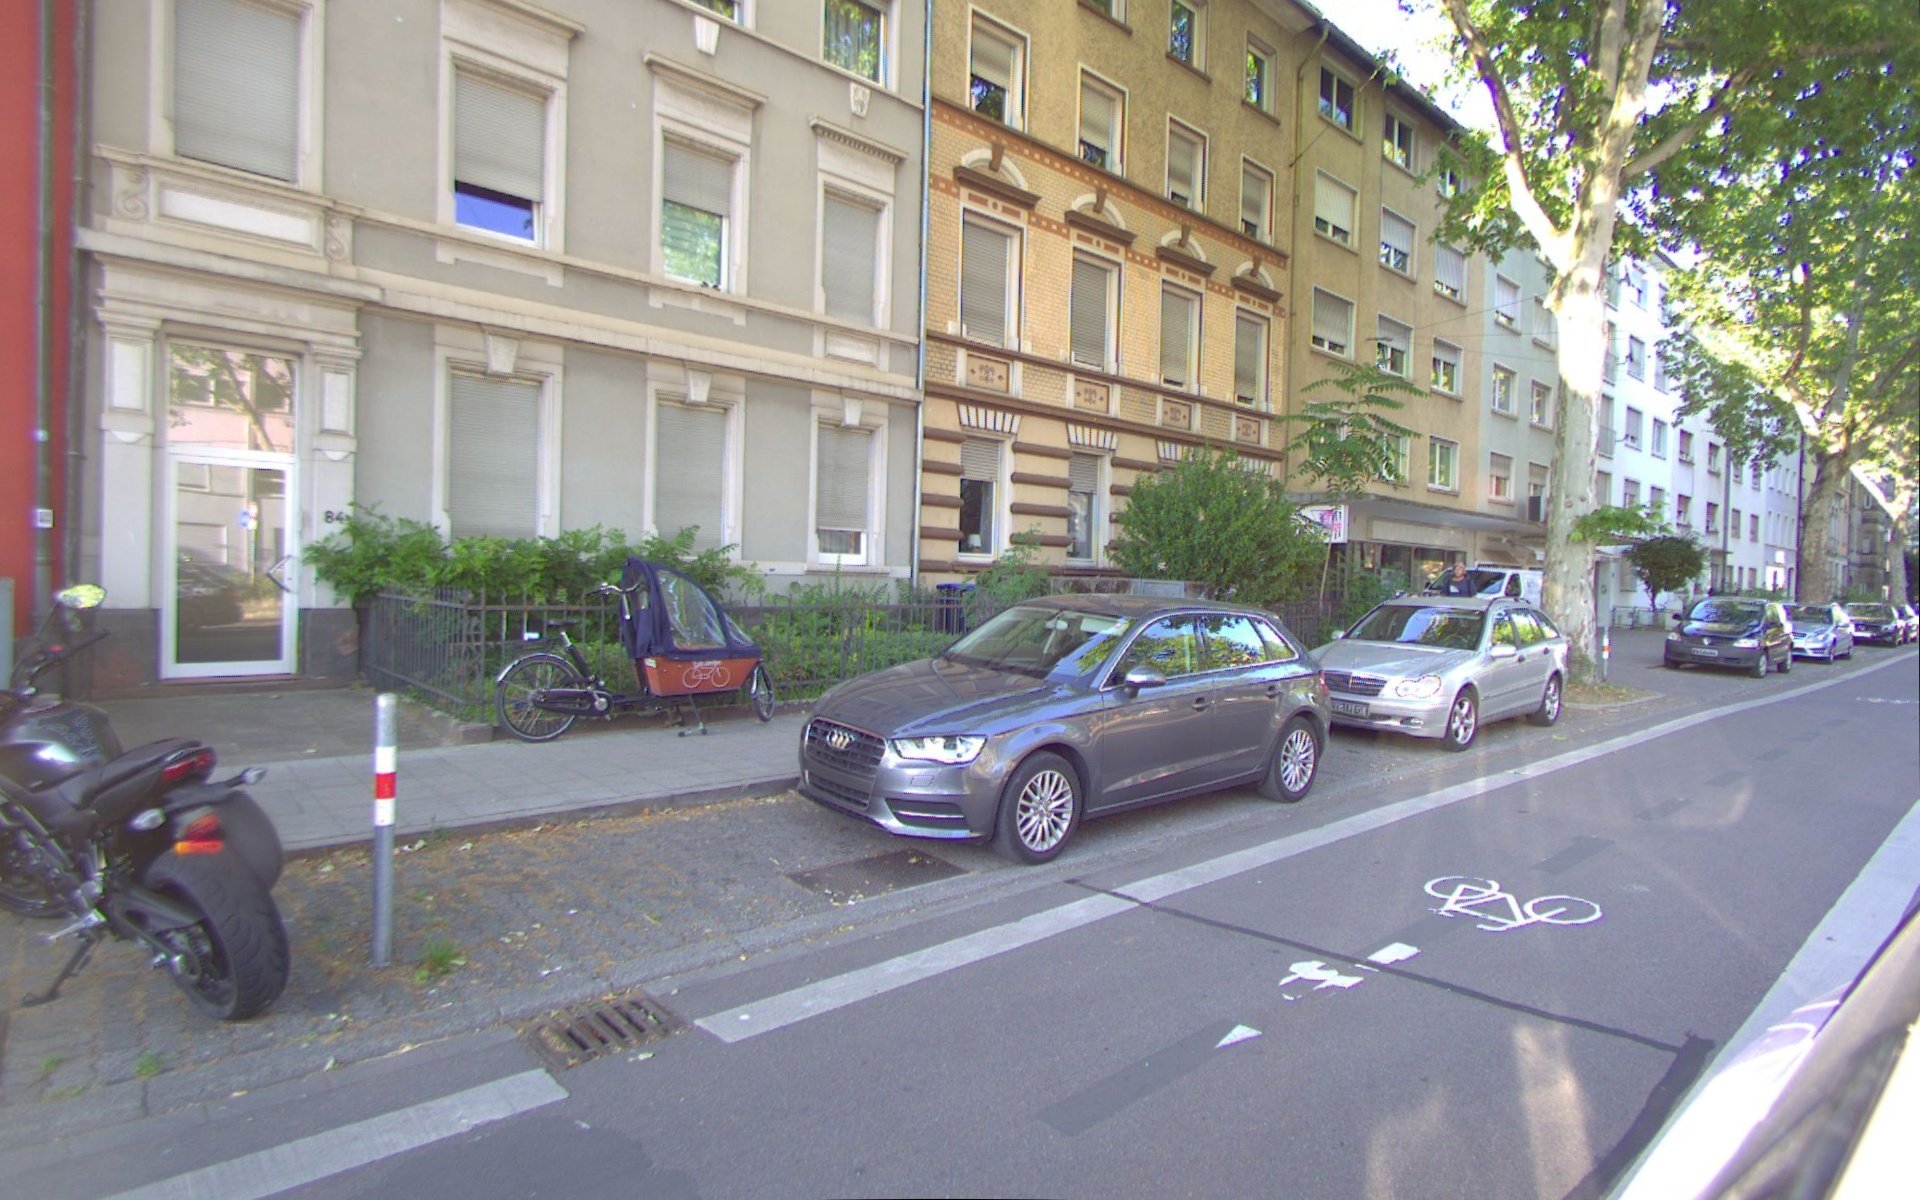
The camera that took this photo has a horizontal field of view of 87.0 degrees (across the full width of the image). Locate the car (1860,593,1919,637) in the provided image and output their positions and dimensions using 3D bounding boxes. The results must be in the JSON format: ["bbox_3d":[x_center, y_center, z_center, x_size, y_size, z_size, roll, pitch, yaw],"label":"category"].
[{"bbox_3d":[35.195,0.515,37.884,4.289,1.432,1.712,0,4,-42],"label":"car"}]

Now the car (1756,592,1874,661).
[{"bbox_3d":[22.000,0.625,25.963,4.695,1.561,1.697,0,2,-42],"label":"car"}]

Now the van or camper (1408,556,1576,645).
[{"bbox_3d":[13.180,-0.023,24.921,5.299,1.946,1.945,0,2,-42],"label":"van or camper"}]

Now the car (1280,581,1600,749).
[{"bbox_3d":[5.464,0.563,11.212,4.494,1.469,1.676,0,2,-43],"label":"car"}]

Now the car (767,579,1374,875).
[{"bbox_3d":[0.977,0.606,6.984,4.245,1.414,1.714,0,2,-41],"label":"car"}]

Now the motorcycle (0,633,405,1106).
[{"bbox_3d":[-3.020,0.758,3.577,2.193,1.076,0.760,4,2,28],"label":"motorcycle"}]

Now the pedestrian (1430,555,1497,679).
[{"bbox_3d":[8.639,0.268,17.357,0.995,2.038,0.683,0,2,-44],"label":"pedestrian"}]

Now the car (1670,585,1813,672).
[{"bbox_3d":[16.247,0.524,20.969,3.932,1.564,1.656,0,2,-42],"label":"car"}]

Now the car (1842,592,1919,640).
[{"bbox_3d":[31.668,0.504,34.615,4.289,1.432,1.712,0,4,-42],"label":"car"}]

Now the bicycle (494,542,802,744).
[{"bbox_3d":[-2.459,0.298,8.238,2.354,1.445,0.608,0,0,-41],"label":"bicycle"}]
